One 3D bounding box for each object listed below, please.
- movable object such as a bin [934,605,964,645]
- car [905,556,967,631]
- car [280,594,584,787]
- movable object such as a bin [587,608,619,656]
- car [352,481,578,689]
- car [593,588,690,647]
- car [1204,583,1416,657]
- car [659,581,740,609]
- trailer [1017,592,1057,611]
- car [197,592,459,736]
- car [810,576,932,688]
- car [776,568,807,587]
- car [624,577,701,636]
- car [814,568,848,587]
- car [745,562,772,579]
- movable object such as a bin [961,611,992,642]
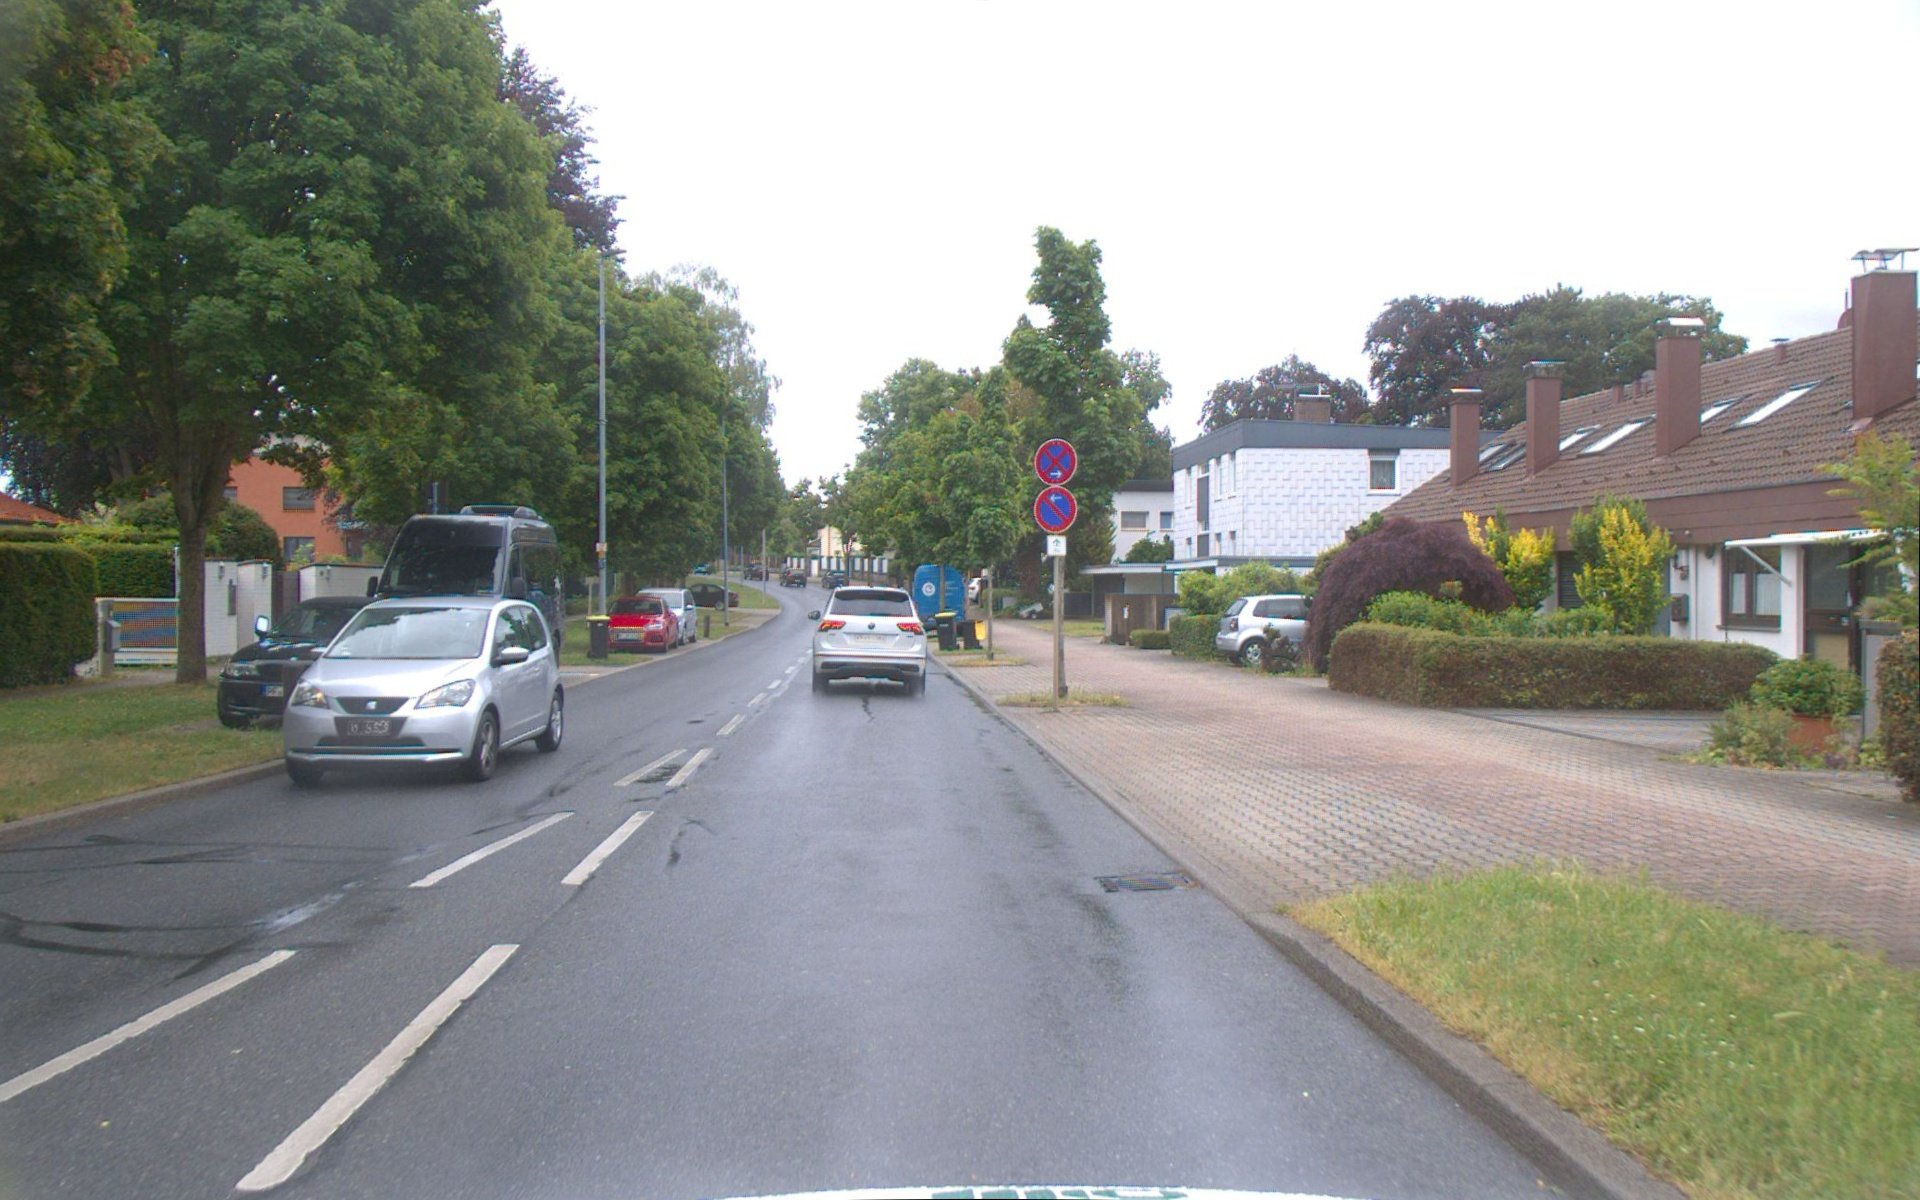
[{"bbox_3d":[-0.315,0.694,45.967,0.601,1.032,0.562,-4,-1,21],"label":"movable object such as a bin"},{"bbox_3d":[-0.961,-0.277,62.325,1.954,2.631,5.629,-2,1,-4],"label":"car"},{"bbox_3d":[-4.506,0.700,14.620,1.561,1.489,3.453,0,0,0],"label":"car"},{"bbox_3d":[-7.459,0.665,34.536,0.546,0.970,0.549,0,0,0],"label":"movable object such as a bin"},{"bbox_3d":[-7.430,-0.237,25.513,1.954,2.776,5.934,1,1,-3],"label":"car"},{"bbox_3d":[-8.274,0.418,43.334,1.954,1.428,4.553,0,1,-4],"label":"car"},{"bbox_3d":[7.160,0.396,34.068,3.909,1.467,1.845,0,0,-6],"label":"car"},{"bbox_3d":[-14.160,-0.299,90.071,4.131,1.386,1.690,2,1,0],"label":"car"},{"bbox_3d":[3.985,0.088,85.559,2.001,0.899,1.364,2,1,-1],"label":"trailer"},{"bbox_3d":[-6.900,0.656,18.459,1.689,1.433,3.822,0,0,-4],"label":"car"},{"bbox_3d":[-1.492,0.467,27.173,1.828,1.679,3.997,-1,0,-4],"label":"car"},{"bbox_3d":[-14.210,-1.922,139.163,1.618,1.452,3.977,1,2,-20],"label":"car"},{"bbox_3d":[-8.761,0.161,49.004,1.721,1.656,4.230,0,1,-3],"label":"car"},{"bbox_3d":[-10.576,-1.875,135.813,1.620,1.452,3.973,1,2,-23],"label":"car"},{"bbox_3d":[-18.796,-2.758,154.125,1.618,1.452,3.977,1,2,-20],"label":"car"},{"bbox_3d":[0.446,0.722,45.418,0.645,0.814,0.601,-3,-1,21],"label":"movable object such as a bin"}]
